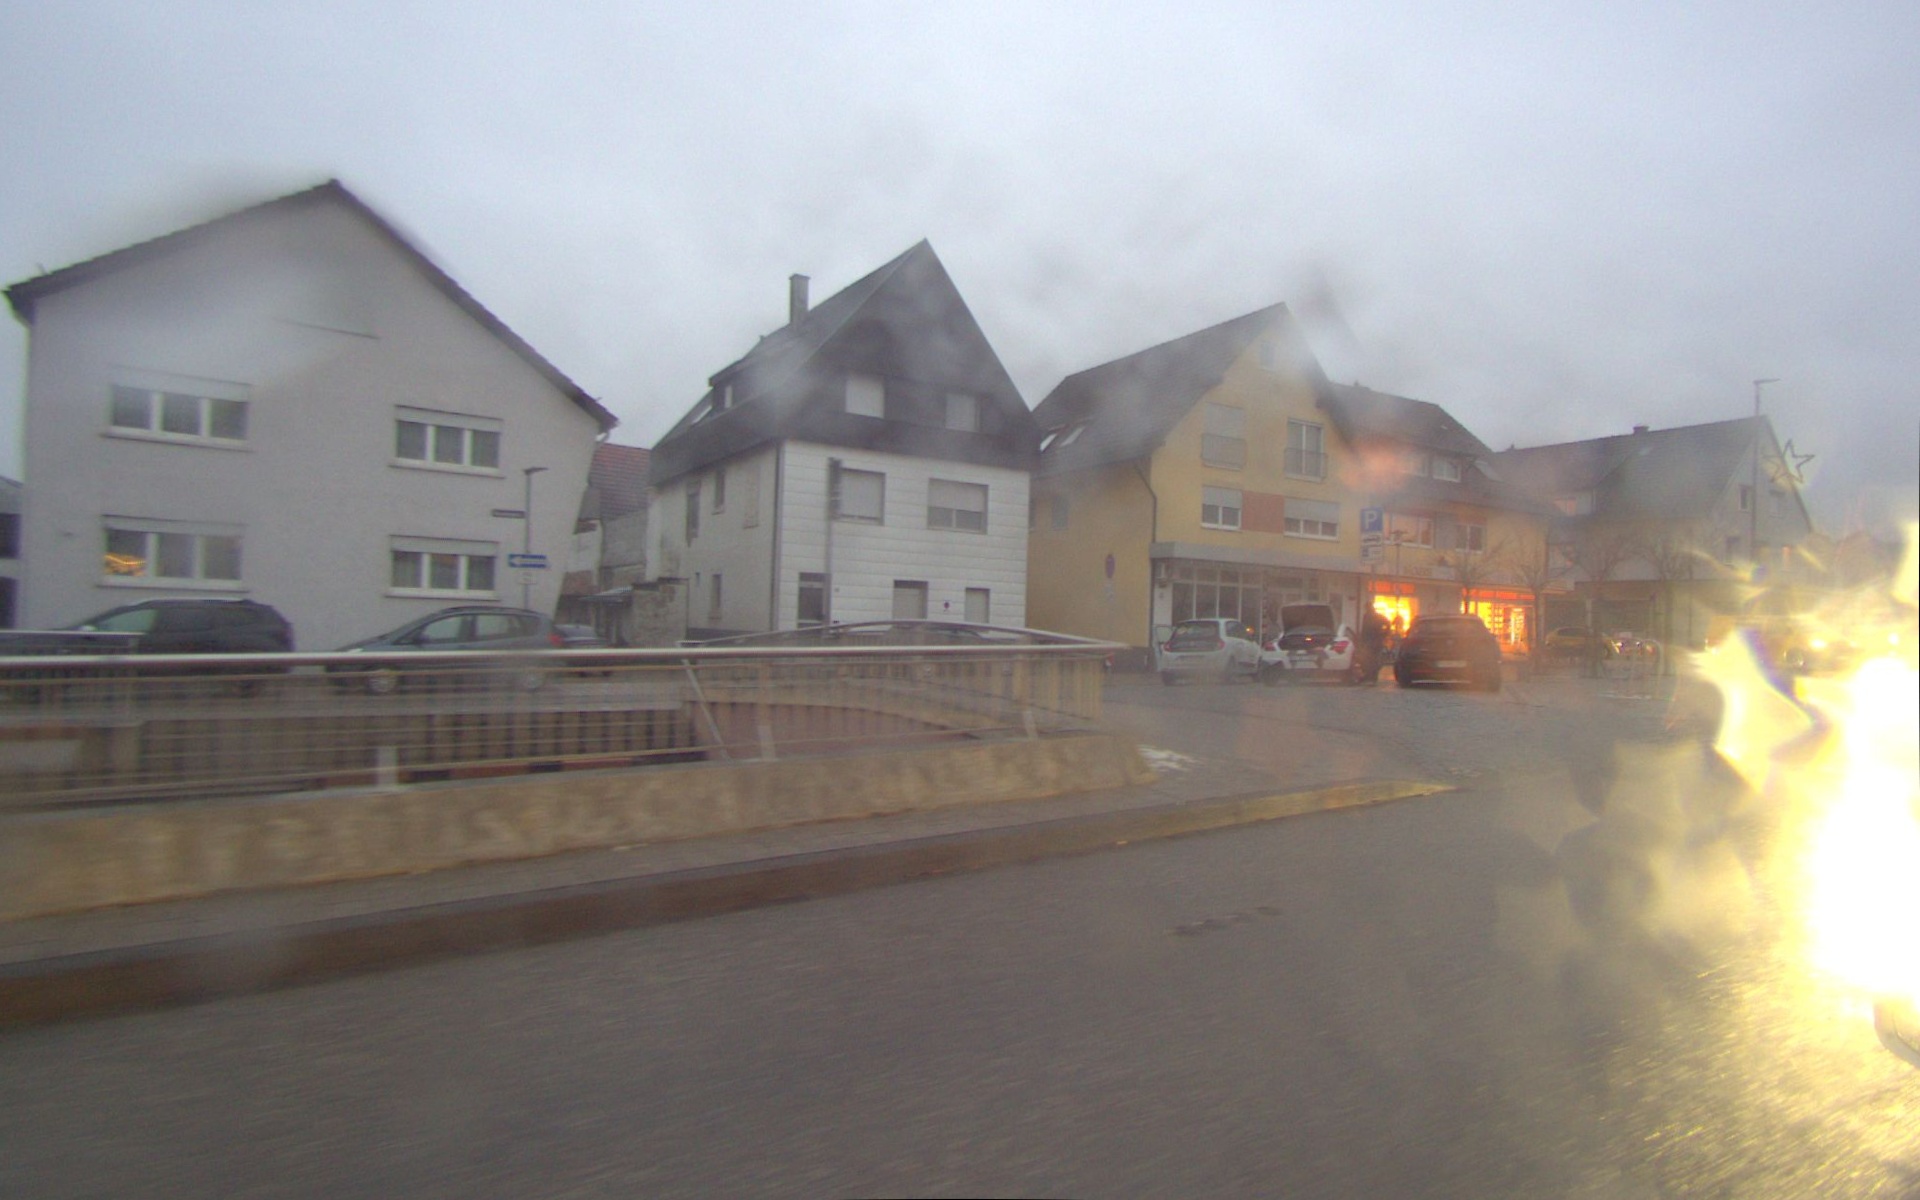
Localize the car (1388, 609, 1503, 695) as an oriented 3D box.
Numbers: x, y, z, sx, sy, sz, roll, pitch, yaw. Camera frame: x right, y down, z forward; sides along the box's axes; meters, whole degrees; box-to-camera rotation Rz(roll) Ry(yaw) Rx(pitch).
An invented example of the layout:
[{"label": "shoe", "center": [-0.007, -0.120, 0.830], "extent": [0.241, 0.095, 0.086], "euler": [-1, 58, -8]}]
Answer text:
[{"label": "car", "center": [9.767, 1.024, 20.463], "extent": [1.877, 1.551, 4.179], "euler": [-1, -2, 23]}]

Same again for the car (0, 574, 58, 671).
[{"label": "car", "center": [-20.694, 0.539, 21.599], "extent": [1.457, 1.962, 3.670], "euler": [1, -3, -35]}]

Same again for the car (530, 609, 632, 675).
[{"label": "car", "center": [-10.747, 1.226, 28.331], "extent": [1.701, 1.704, 3.961], "euler": [4, -5, -35]}]

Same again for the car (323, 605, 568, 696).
[{"label": "car", "center": [-9.987, 0.949, 19.606], "extent": [4.053, 1.590, 1.763], "euler": [2, 0, -35]}]

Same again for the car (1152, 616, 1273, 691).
[{"label": "car", "center": [6.190, 1.247, 24.289], "extent": [1.734, 1.652, 3.992], "euler": [-2, -2, 31]}]

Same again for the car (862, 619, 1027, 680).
[{"label": "car", "center": [-0.428, 1.366, 28.783], "extent": [4.373, 1.520, 1.901], "euler": [1, 2, -31]}]

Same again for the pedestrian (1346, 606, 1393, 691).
[{"label": "pedestrian", "center": [8.601, 1.004, 21.077], "extent": [0.826, 1.734, 0.723], "euler": [-1, -2, 29]}]

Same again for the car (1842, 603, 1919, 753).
[{"label": "car", "center": [12.194, 0.900, 12.310], "extent": [3.931, 1.643, 1.761], "euler": [1, 0, -44]}]

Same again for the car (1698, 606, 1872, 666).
[{"label": "car", "center": [30.983, 1.288, 37.963], "extent": [1.966, 2.040, 4.887], "euler": [2, 0, -13]}]

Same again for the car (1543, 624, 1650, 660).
[{"label": "car", "center": [28.912, 1.869, 45.767], "extent": [1.692, 1.440, 3.818], "euler": [4, -2, -24]}]

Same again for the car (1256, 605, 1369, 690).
[{"label": "car", "center": [7.787, 1.018, 22.006], "extent": [1.806, 1.692, 3.892], "euler": [-2, -2, 27]}]

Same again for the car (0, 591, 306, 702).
[{"label": "car", "center": [-13.547, 0.755, 17.089], "extent": [3.924, 1.682, 1.686], "euler": [2, 0, -38]}]
